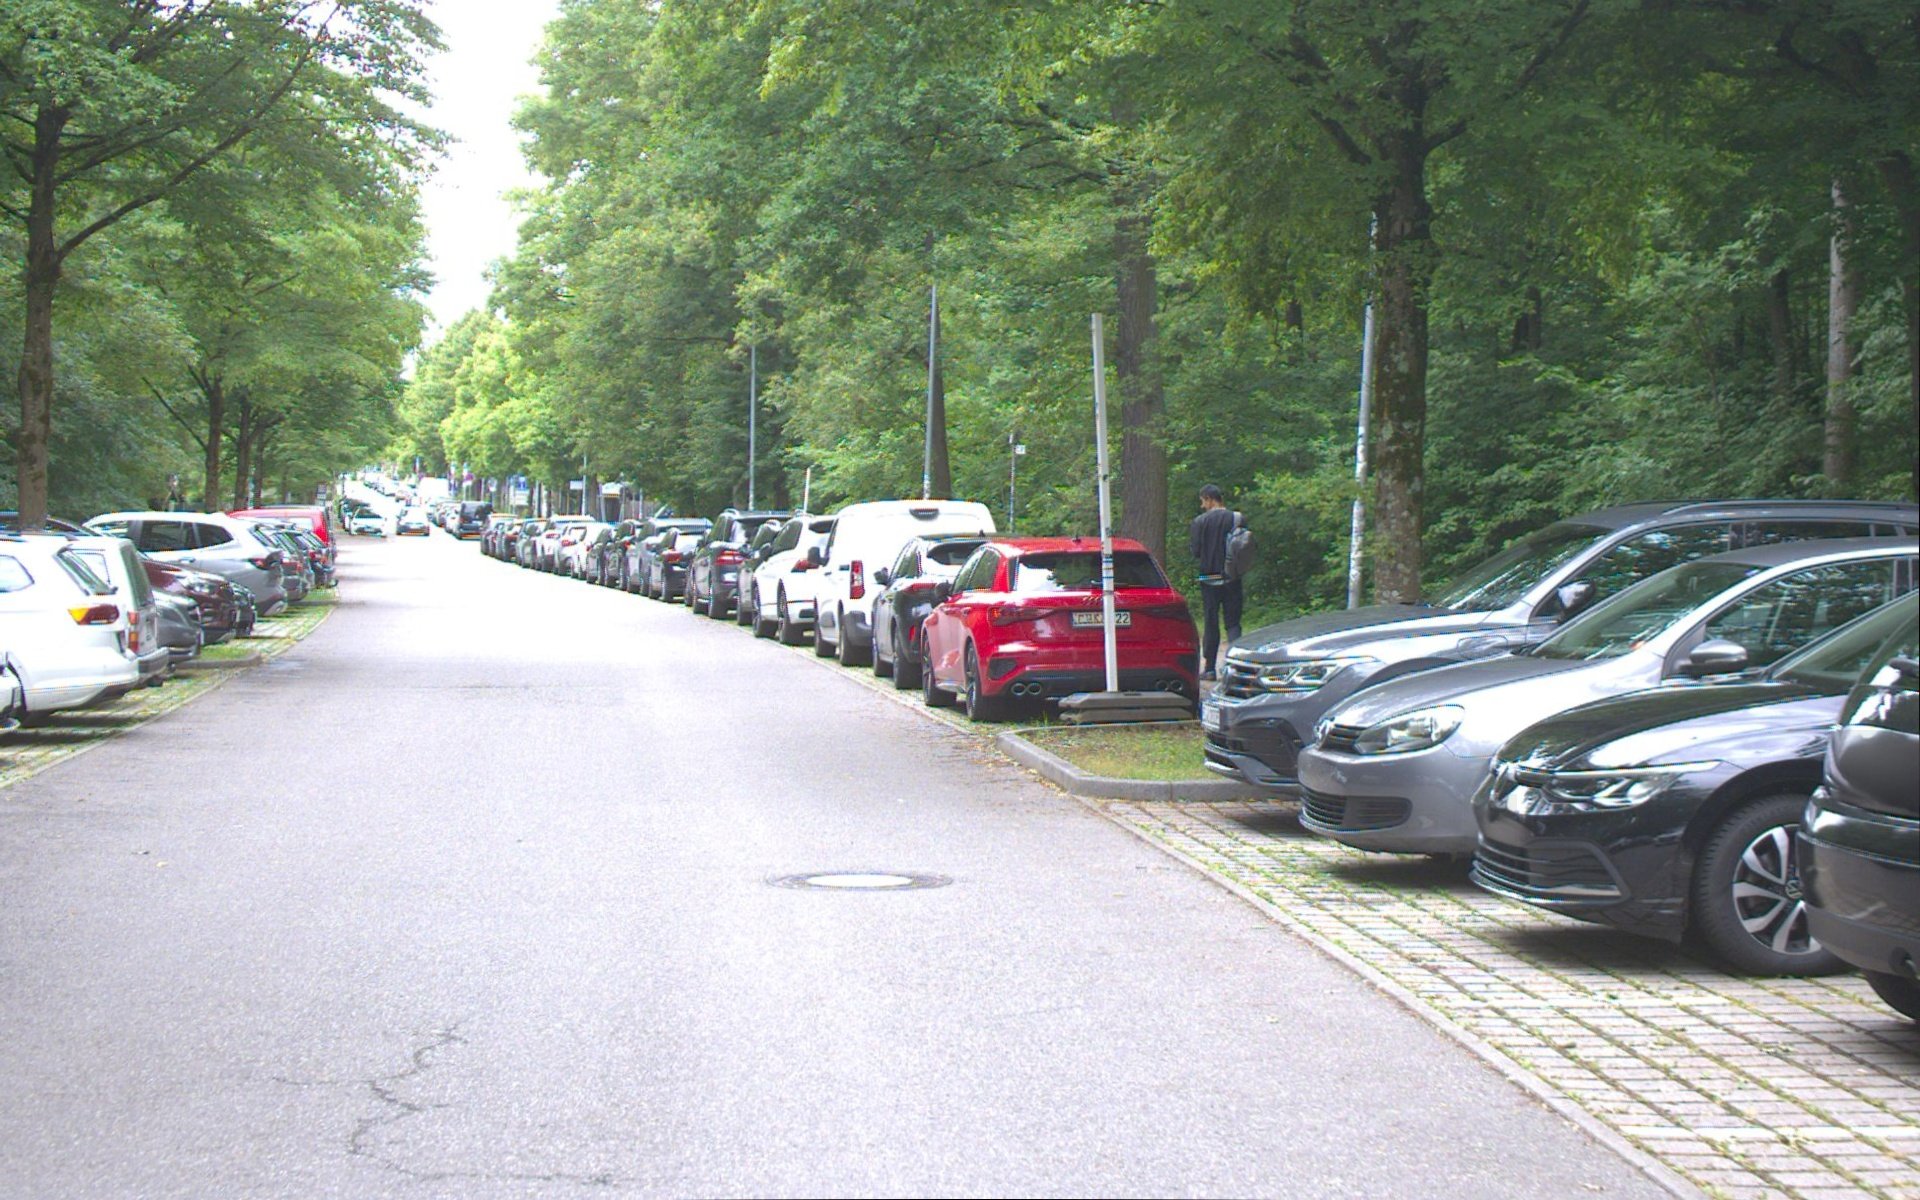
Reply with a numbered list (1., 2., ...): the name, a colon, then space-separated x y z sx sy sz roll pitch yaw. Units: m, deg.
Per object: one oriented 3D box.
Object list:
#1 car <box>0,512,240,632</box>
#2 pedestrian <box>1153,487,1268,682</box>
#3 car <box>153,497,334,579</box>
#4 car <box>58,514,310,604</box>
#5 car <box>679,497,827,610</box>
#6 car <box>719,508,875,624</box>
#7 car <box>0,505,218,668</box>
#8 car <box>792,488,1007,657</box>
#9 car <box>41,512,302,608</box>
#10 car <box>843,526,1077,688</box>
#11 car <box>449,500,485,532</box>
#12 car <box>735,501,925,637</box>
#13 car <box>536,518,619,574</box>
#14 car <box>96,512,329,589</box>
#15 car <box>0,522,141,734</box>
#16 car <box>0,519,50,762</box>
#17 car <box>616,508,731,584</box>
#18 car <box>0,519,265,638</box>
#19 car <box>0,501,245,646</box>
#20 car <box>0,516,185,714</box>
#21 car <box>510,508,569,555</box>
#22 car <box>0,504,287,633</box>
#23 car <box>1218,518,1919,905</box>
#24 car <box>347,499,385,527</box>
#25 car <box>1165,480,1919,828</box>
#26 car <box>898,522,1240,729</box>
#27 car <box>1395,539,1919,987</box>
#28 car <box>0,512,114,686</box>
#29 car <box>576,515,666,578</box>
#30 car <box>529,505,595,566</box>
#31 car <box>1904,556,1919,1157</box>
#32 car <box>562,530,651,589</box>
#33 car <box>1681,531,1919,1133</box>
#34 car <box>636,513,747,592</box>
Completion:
1. car: -11.297 -0.370 43.717 4.022 1.460 1.799 0 1 -6
2. pedestrian: 2.249 -0.149 30.957 0.817 1.720 1.004 1 1 -7
3. car: -16.321 -1.410 78.300 3.986 1.810 2.116 0 1 -12
4. car: -13.185 -0.705 58.613 4.108 1.475 1.997 0 1 -10
5. car: -3.436 -0.796 56.252 1.889 1.741 4.950 1 2 -10
6. car: -2.450 -0.540 50.611 1.750 1.602 4.448 1 2 -10
7. car: -9.400 -0.153 33.760 4.033 1.549 1.920 0 1 -9
8. car: -0.745 -0.356 38.660 1.744 1.774 4.553 1 2 -10
9. car: -12.859 -0.663 56.231 4.088 1.518 1.930 0 1 -12
10. car: -0.069 0.019 33.284 1.725 1.418 4.285 1 2 -7
11. car: -25.060 -4.264 174.550 1.628 1.410 3.412 1 4 -11
12. car: -1.755 -0.445 44.791 1.785 1.656 4.719 1 2 -10
13. car: -10.656 -1.513 95.622 1.721 1.488 3.775 0 2 -15
14. car: -14.350 -0.958 65.954 4.294 1.444 1.757 0 1 -14
15. car: -8.164 0.169 24.212 4.561 1.442 2.086 0 1 -11
16. car: -8.035 0.232 21.503 4.364 1.481 1.892 0 1 -9
17. car: -6.079 -1.161 72.516 1.977 1.532 4.623 1 2 -10
18. car: -10.439 -0.273 41.388 3.986 1.359 1.787 1 1 -9
19. car: -10.409 -0.317 38.679 4.514 1.579 1.927 0 1 -8
20. car: -8.404 0.091 26.546 4.561 1.481 1.870 0 1 -7
21. car: -13.883 -2.268 113.379 1.710 1.503 4.001 1 2 -10
22. car: -11.244 -0.439 46.083 4.223 1.627 2.030 1 1 -8
23. car: 3.333 0.444 15.168 3.986 1.546 1.976 1 1 -10
24. car: -29.544 -4.347 171.140 1.738 1.158 3.412 1 4 -8
25. car: 3.329 0.248 17.749 4.265 1.660 1.959 1 1 -5
26. car: 0.762 0.138 27.807 1.993 1.474 4.973 1 2 -7
27. car: 3.757 0.547 12.550 3.986 1.470 1.953 1 1 -4
28. car: -9.857 -0.034 31.079 4.233 1.545 1.848 0 1 -12
29. car: -8.207 -1.305 83.016 1.665 1.439 3.815 0 2 -13
30. car: -11.771 -1.923 101.444 1.710 1.722 4.001 1 2 -10
31. car: 4.271 0.637 7.609 3.826 1.452 1.809 0 1 -3
32. car: -9.258 -1.072 89.907 1.936 1.470 3.993 1 2 -11
33. car: 4.205 0.568 9.848 3.826 1.526 1.851 0 1 -4
34. car: -5.240 -0.947 66.724 1.636 1.472 4.153 0 1 -12
